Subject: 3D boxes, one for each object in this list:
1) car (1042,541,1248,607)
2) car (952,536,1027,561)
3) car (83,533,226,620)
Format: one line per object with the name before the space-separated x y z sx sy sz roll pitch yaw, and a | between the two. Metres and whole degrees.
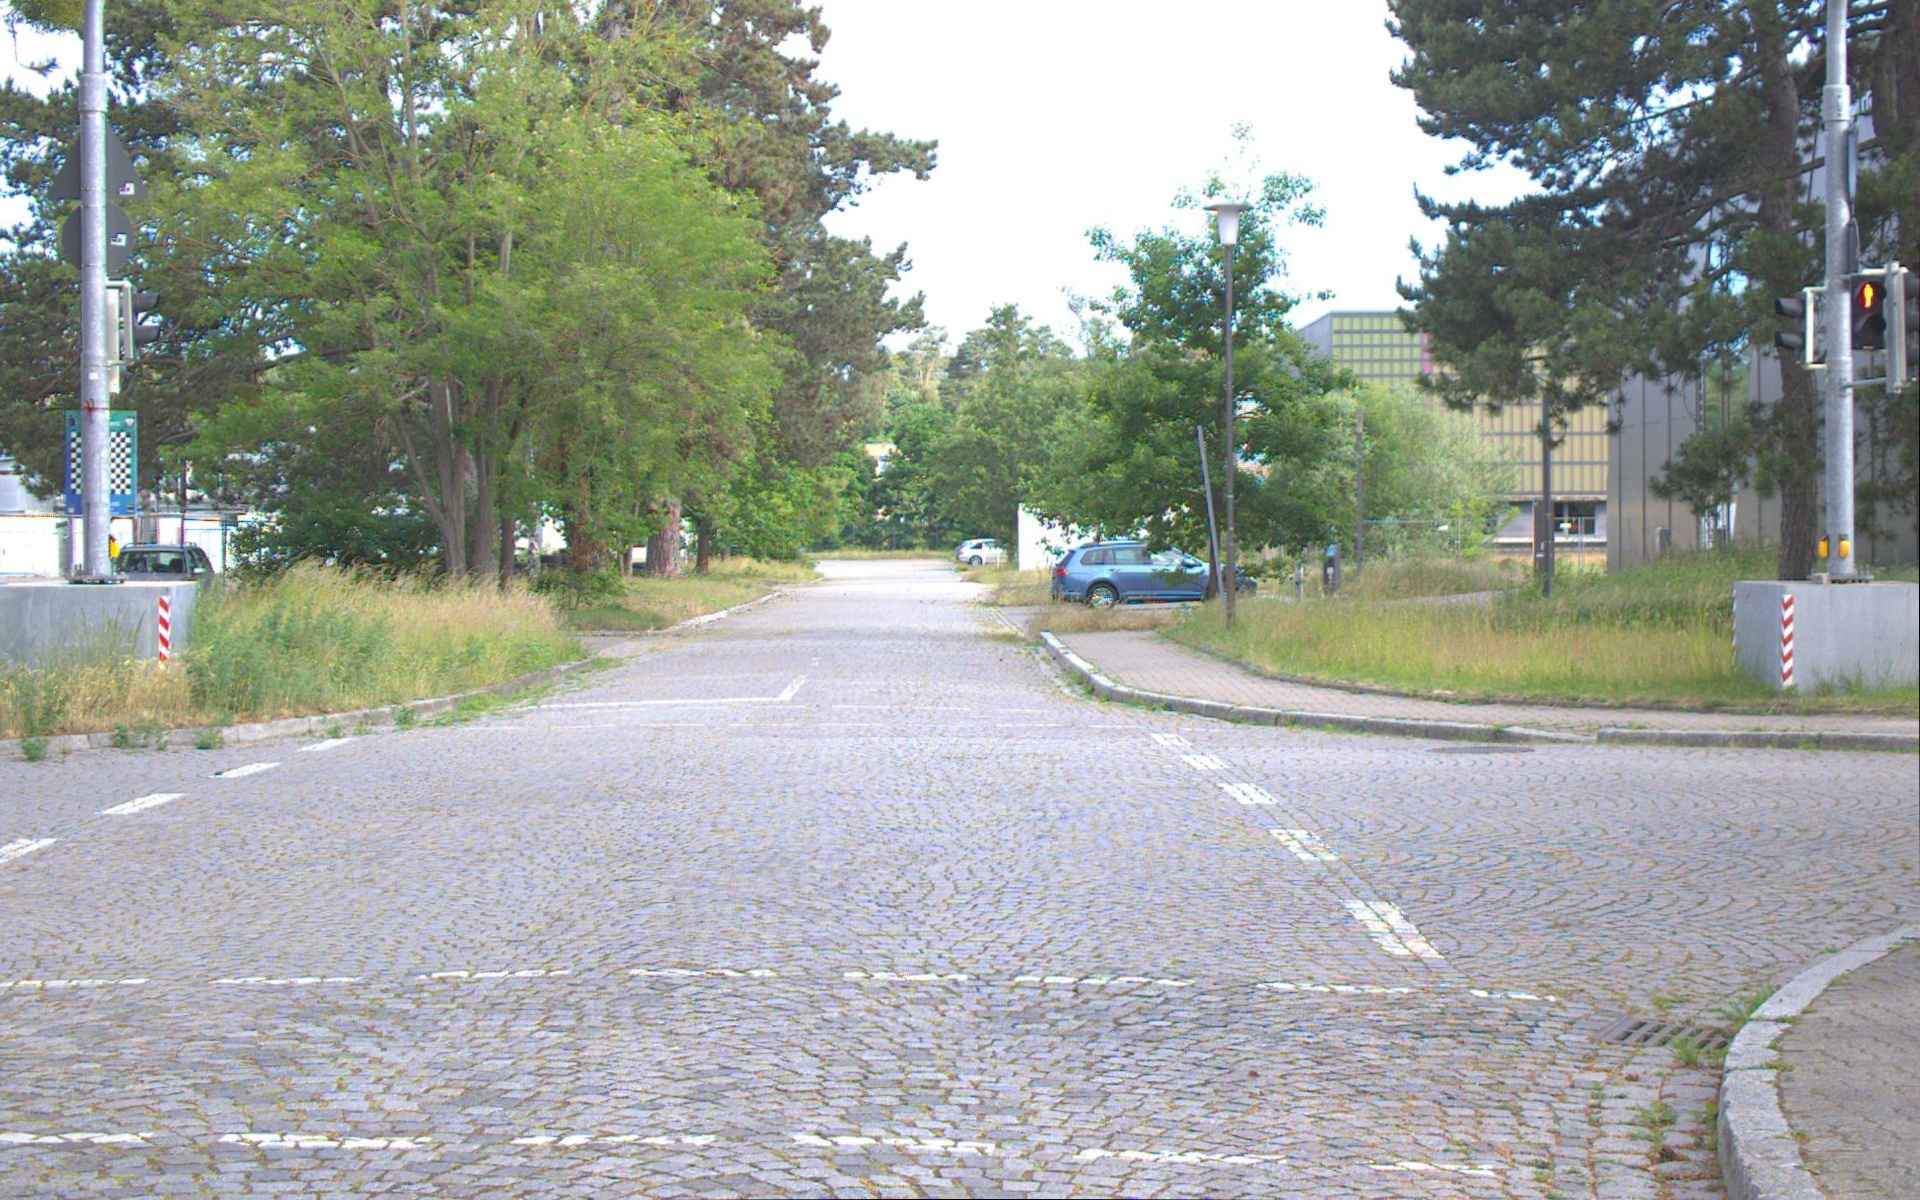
car | 4.044 -0.584 75.594 4.343 1.417 2.000 0 1 -2
car | 1.621 -2.891 192.651 3.986 1.393 2.000 0 1 -6
car | -14.160 -0.444 60.594 1.613 1.482 4.000 0 1 -1
